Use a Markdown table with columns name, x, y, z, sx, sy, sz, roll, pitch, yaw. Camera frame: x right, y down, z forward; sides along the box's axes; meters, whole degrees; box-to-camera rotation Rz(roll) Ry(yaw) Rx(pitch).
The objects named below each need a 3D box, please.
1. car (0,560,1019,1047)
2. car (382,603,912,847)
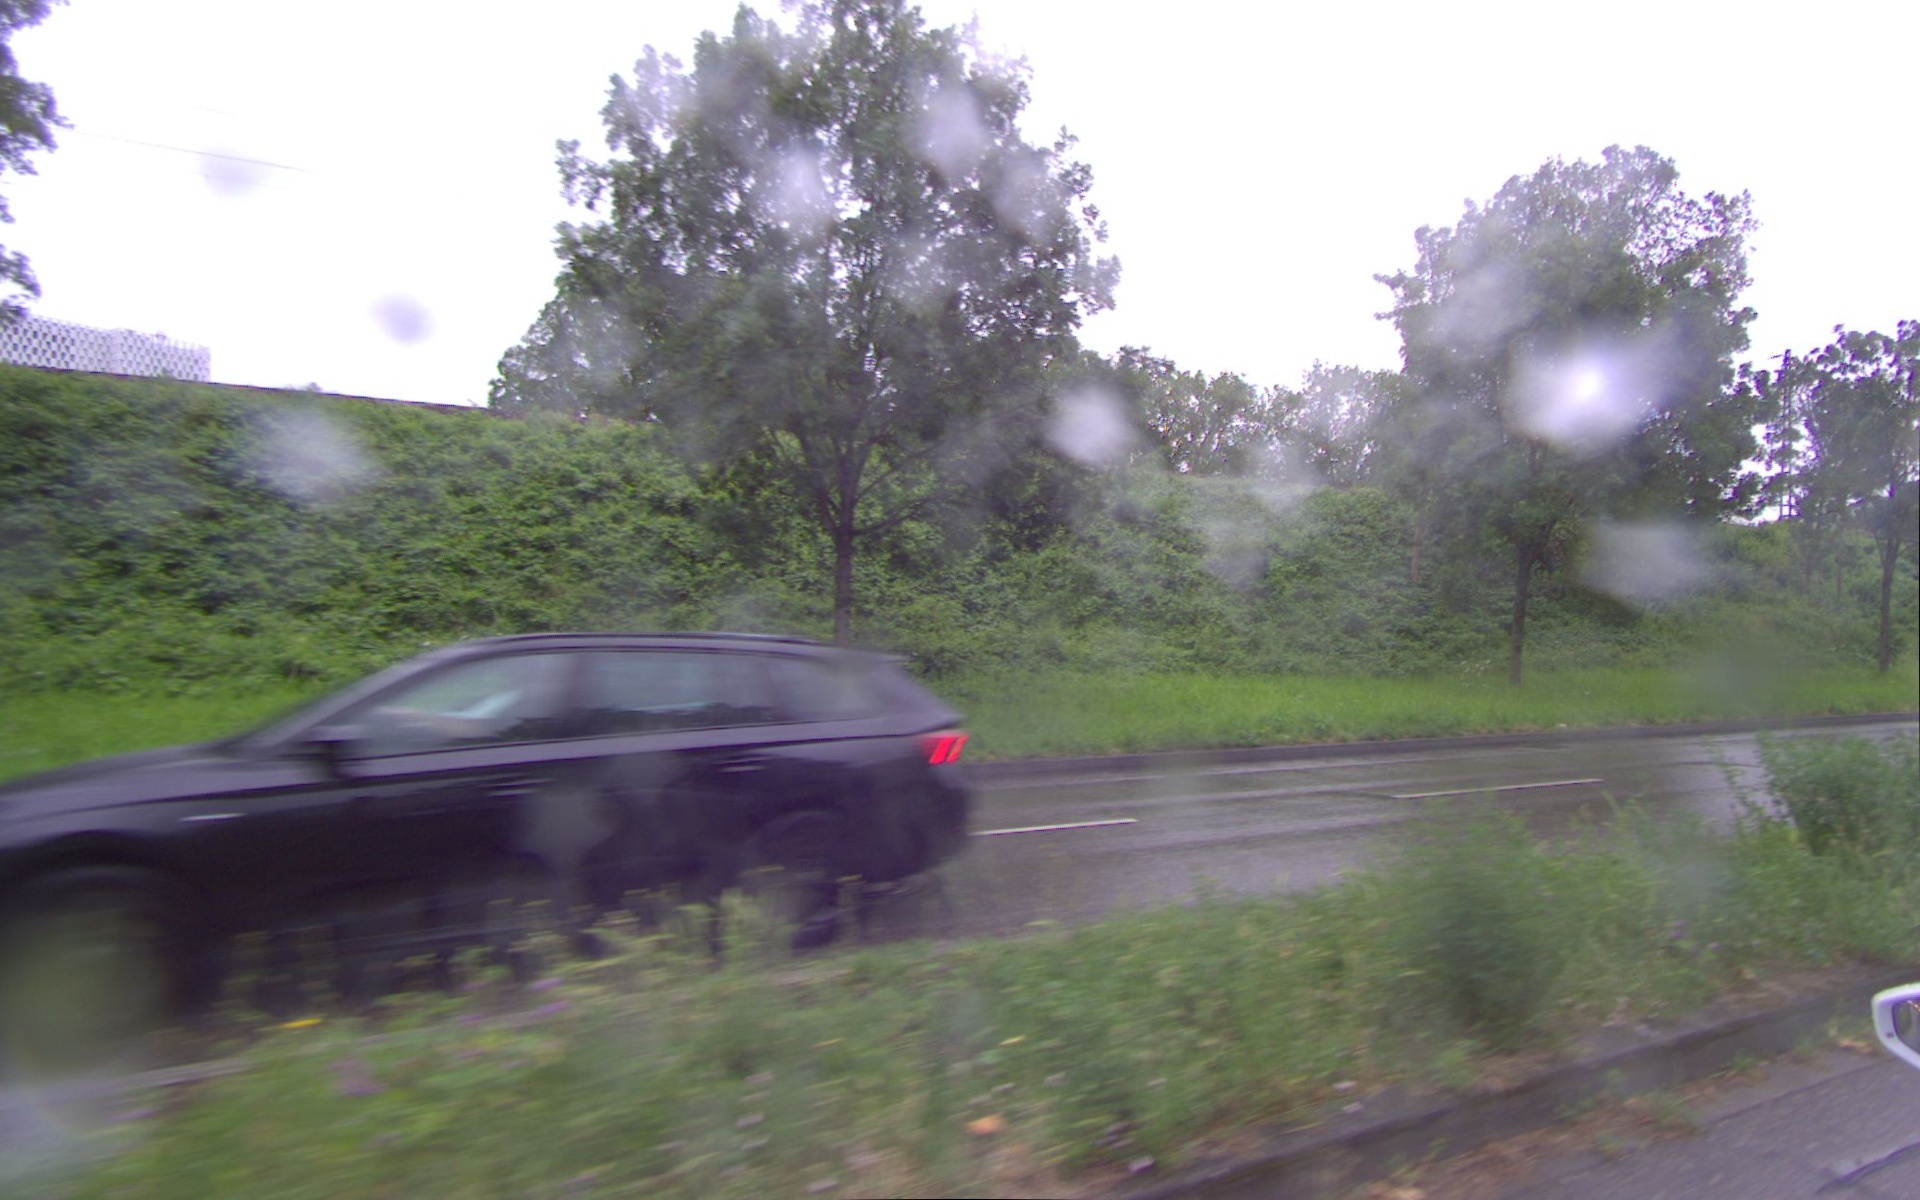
| name | x | y | z | sx | sy | sz | roll | pitch | yaw |
| --- | --- | --- | --- | --- | --- | --- | --- | --- | --- |
| car | -1.996 | 0.771 | 4.949 | 4.287 | 1.639 | 1.716 | 1 | -4 | -25 |
| car | -2.467 | 0.890 | 8.305 | 3.794 | 1.639 | 1.692 | 1 | -1 | -24 |
